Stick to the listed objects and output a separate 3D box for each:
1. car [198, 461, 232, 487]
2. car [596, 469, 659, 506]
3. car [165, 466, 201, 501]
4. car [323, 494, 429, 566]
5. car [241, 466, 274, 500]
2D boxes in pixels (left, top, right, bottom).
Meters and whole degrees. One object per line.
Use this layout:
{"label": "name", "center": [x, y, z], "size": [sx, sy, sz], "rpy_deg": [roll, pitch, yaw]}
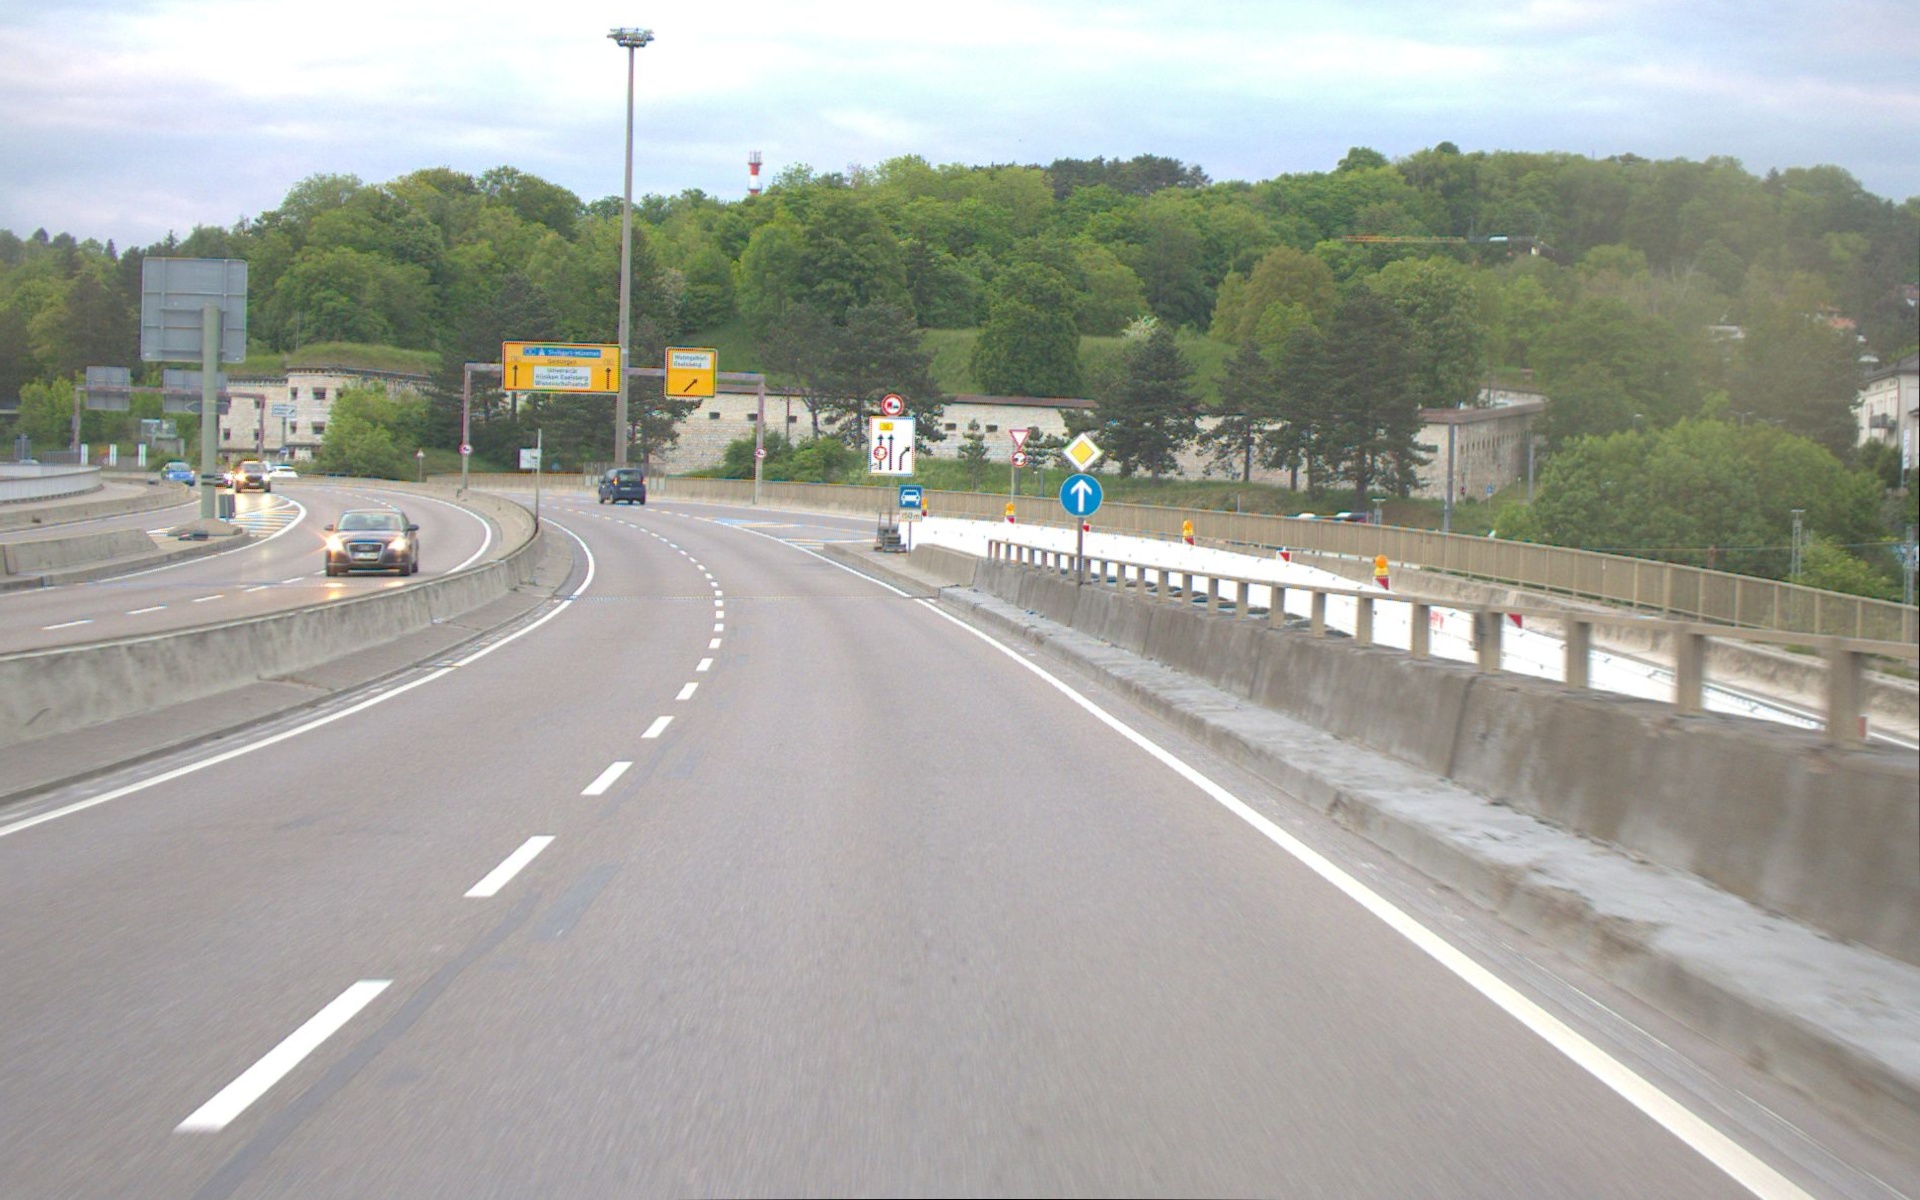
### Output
{"label": "car", "center": [-45.121, -7.636, 208.218], "size": [1.795, 1.481, 3.843], "rpy_deg": [1, 1, -15]}
{"label": "car", "center": [-17.073, -5.783, 176.418], "size": [2.304, 1.757, 4.264], "rpy_deg": [2, 2, -17]}
{"label": "car", "center": [-51.263, -7.704, 226.689], "size": [1.993, 2.006, 4.002], "rpy_deg": [7, 2, -14]}
{"label": "car", "center": [-12.427, -1.480, 73.325], "size": [1.829, 1.475, 4.288], "rpy_deg": [1, 1, -5]}
{"label": "car", "center": [-38.580, -6.427, 188.777], "size": [1.636, 1.711, 4.001], "rpy_deg": [-4, 2, -12]}
